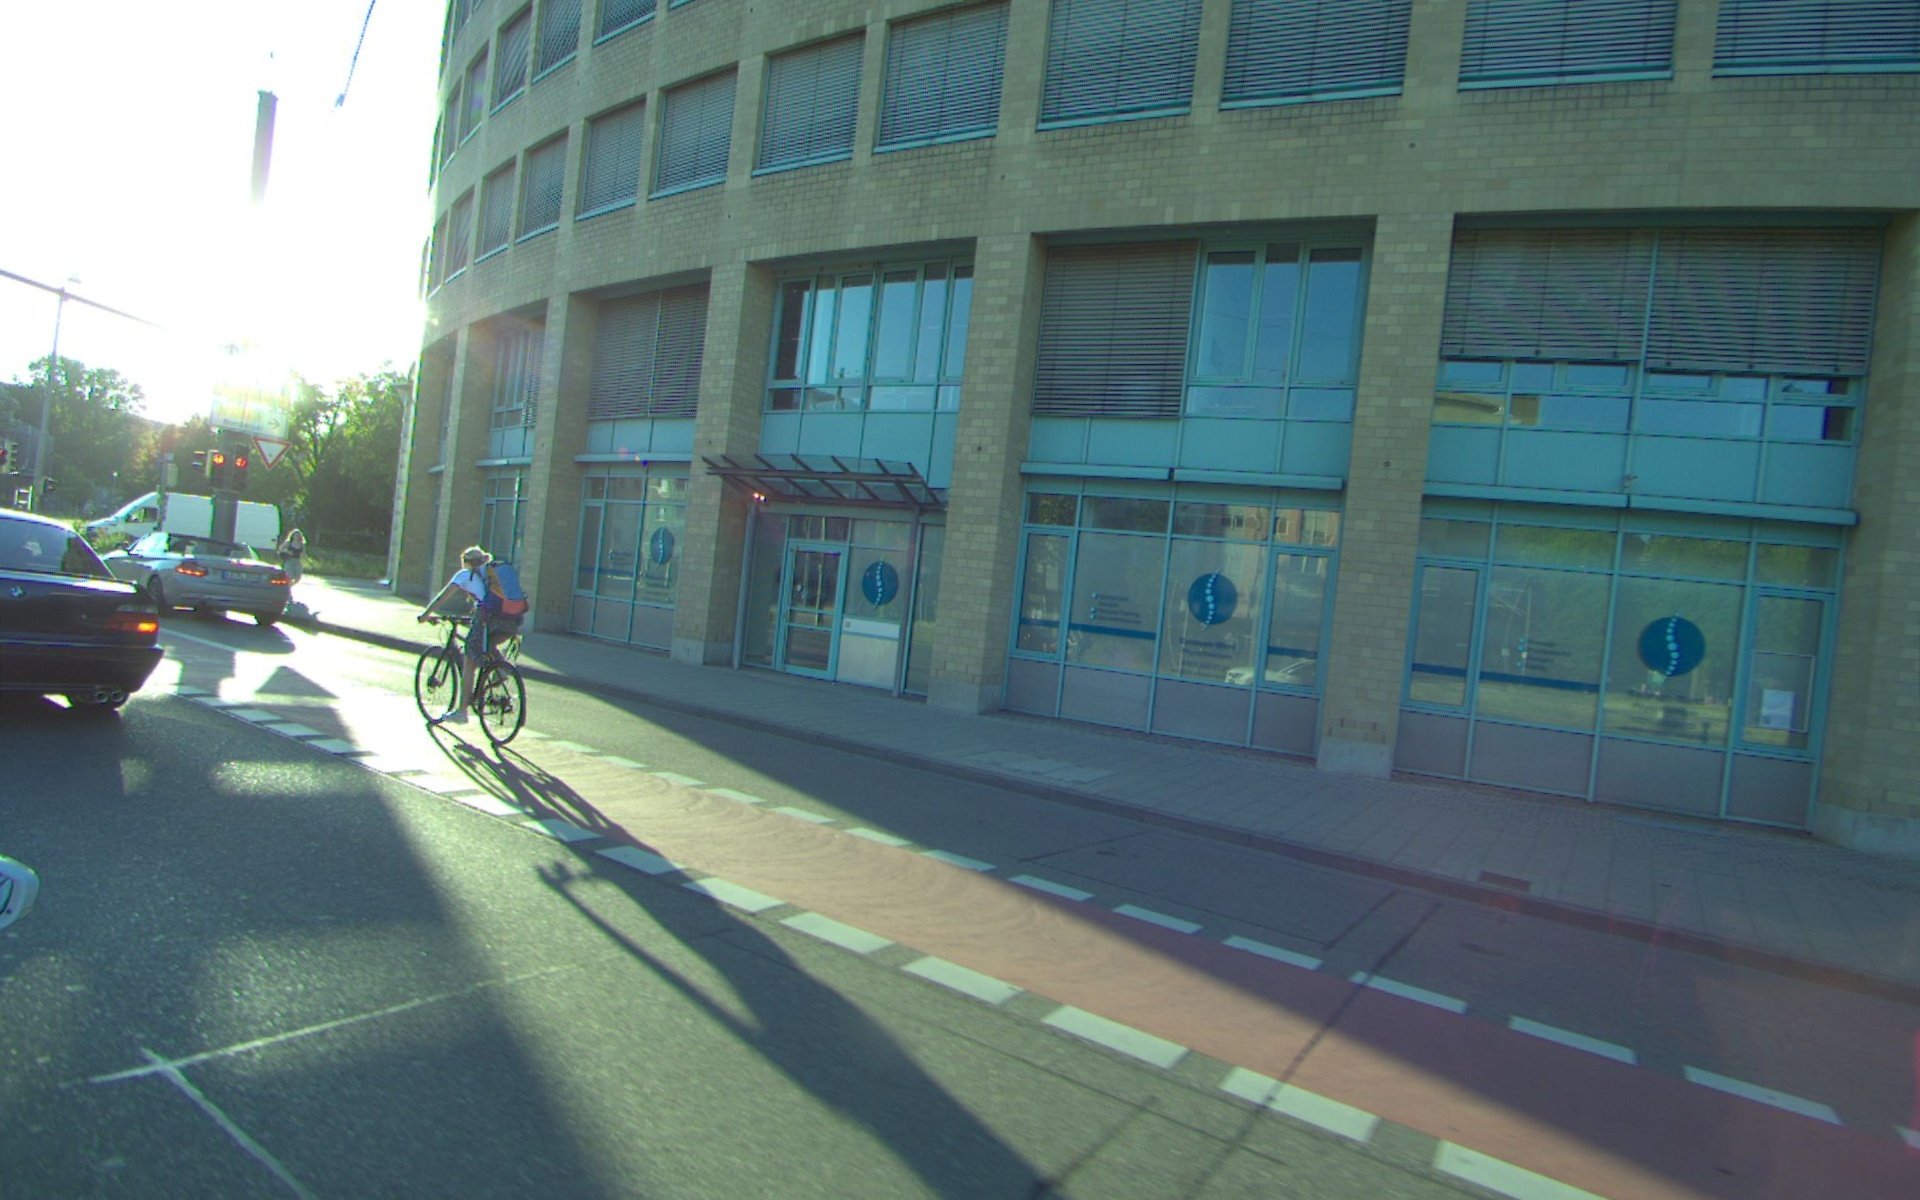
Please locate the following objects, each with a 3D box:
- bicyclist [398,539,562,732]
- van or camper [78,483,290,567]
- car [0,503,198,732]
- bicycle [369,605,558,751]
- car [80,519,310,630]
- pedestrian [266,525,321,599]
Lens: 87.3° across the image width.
[{"bbox_3d":[-4.107,0.301,8.617,1.021,1.500,0.656,6,-2,32],"label":"bicyclist"},{"bbox_3d":[-34.964,-3.296,45.608,2.557,2.708,7.043,8,0,36],"label":"van or camper"},{"bbox_3d":[-7.822,-0.090,7.576,4.566,1.370,1.832,7,-1,34],"label":"car"},{"bbox_3d":[-4.294,0.648,8.656,1.746,0.966,0.516,8,-1,32],"label":"bicycle"},{"bbox_3d":[-13.367,-0.464,17.513,4.197,1.370,1.786,7,-1,33],"label":"car"},{"bbox_3d":[-15.550,-0.887,23.472,0.787,1.589,0.677,8,2,31],"label":"pedestrian"}]
